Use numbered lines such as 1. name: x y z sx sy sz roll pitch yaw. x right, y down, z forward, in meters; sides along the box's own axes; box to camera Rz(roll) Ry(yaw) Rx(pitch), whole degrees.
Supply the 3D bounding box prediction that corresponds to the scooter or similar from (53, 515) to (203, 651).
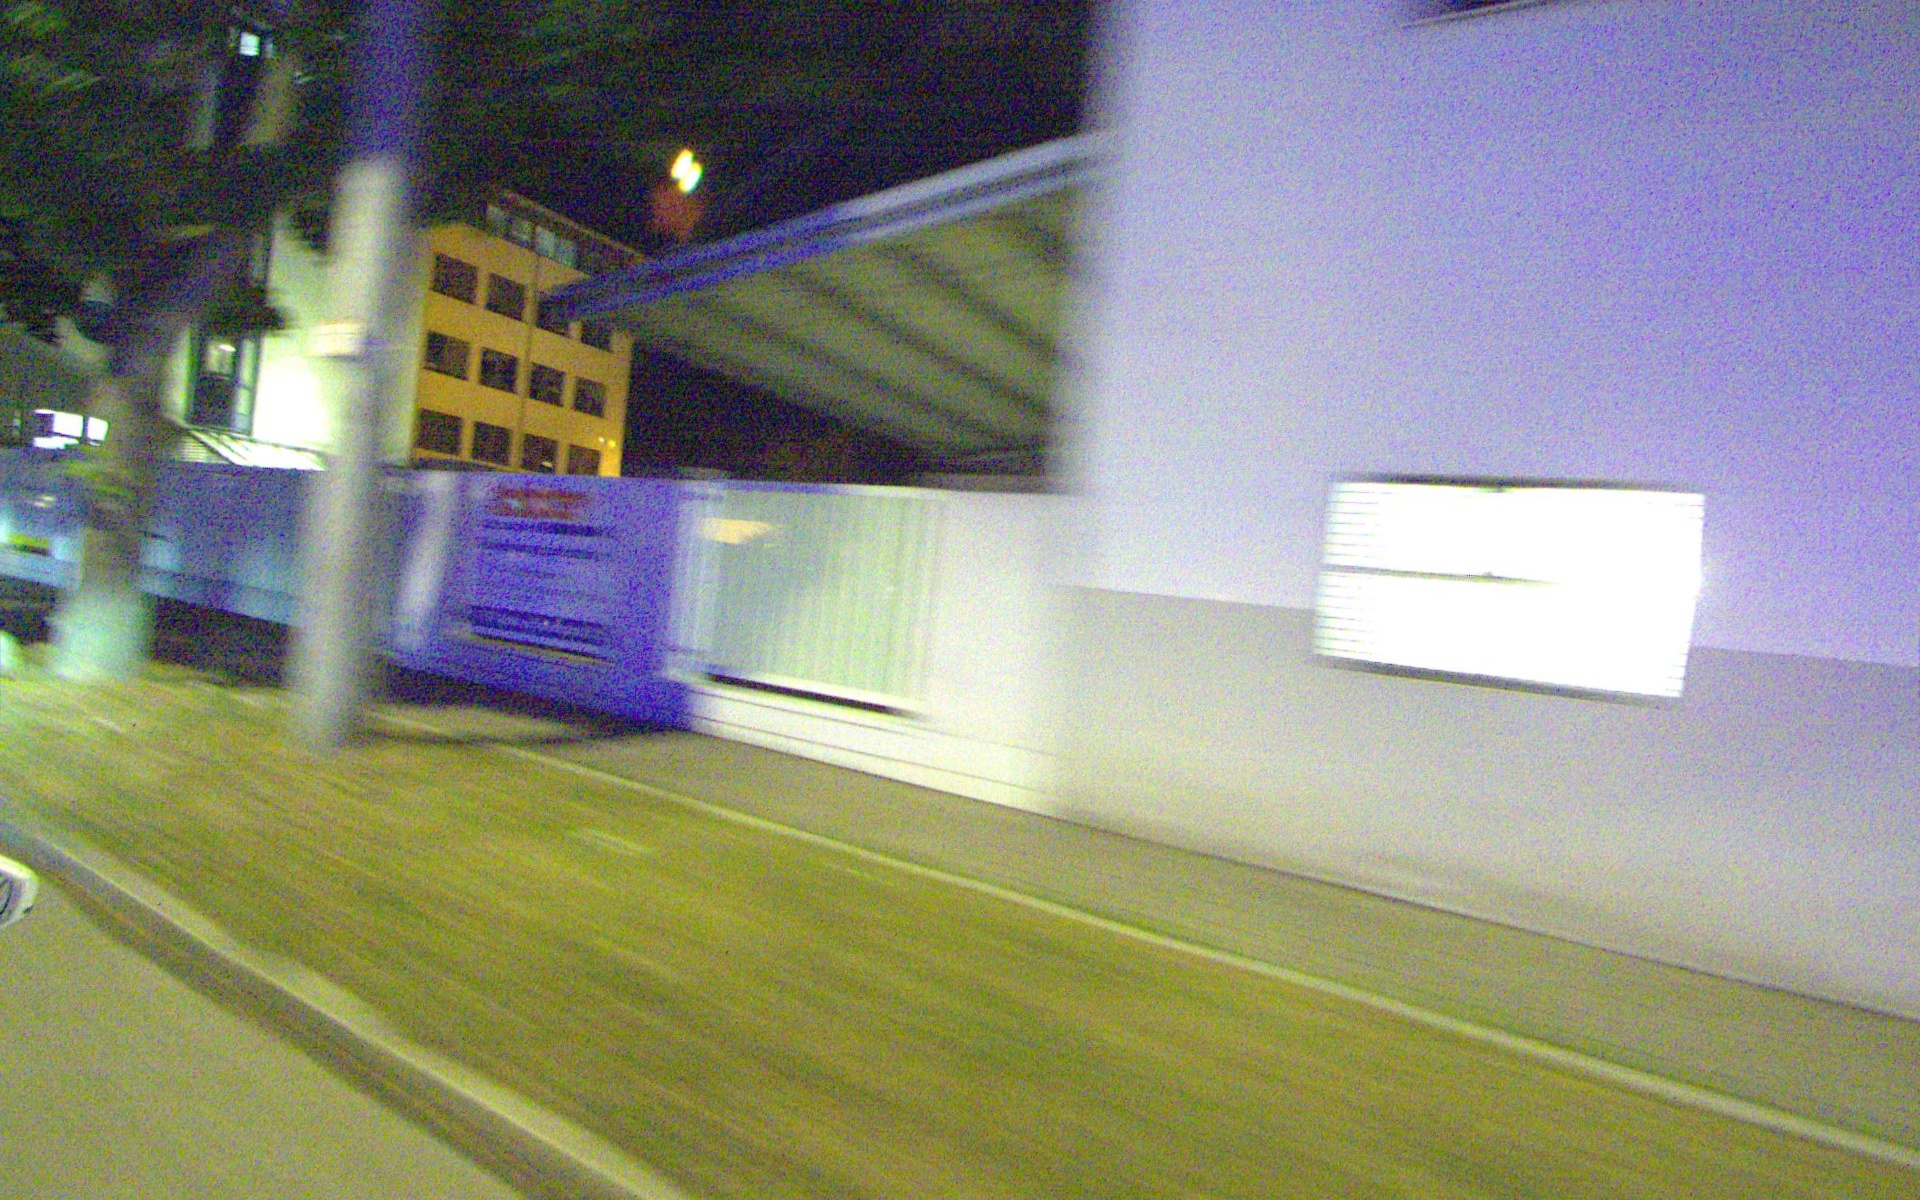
1. scooter or similar: -8.657 -0.190 10.444 1.879 1.218 0.548 6 1 32
